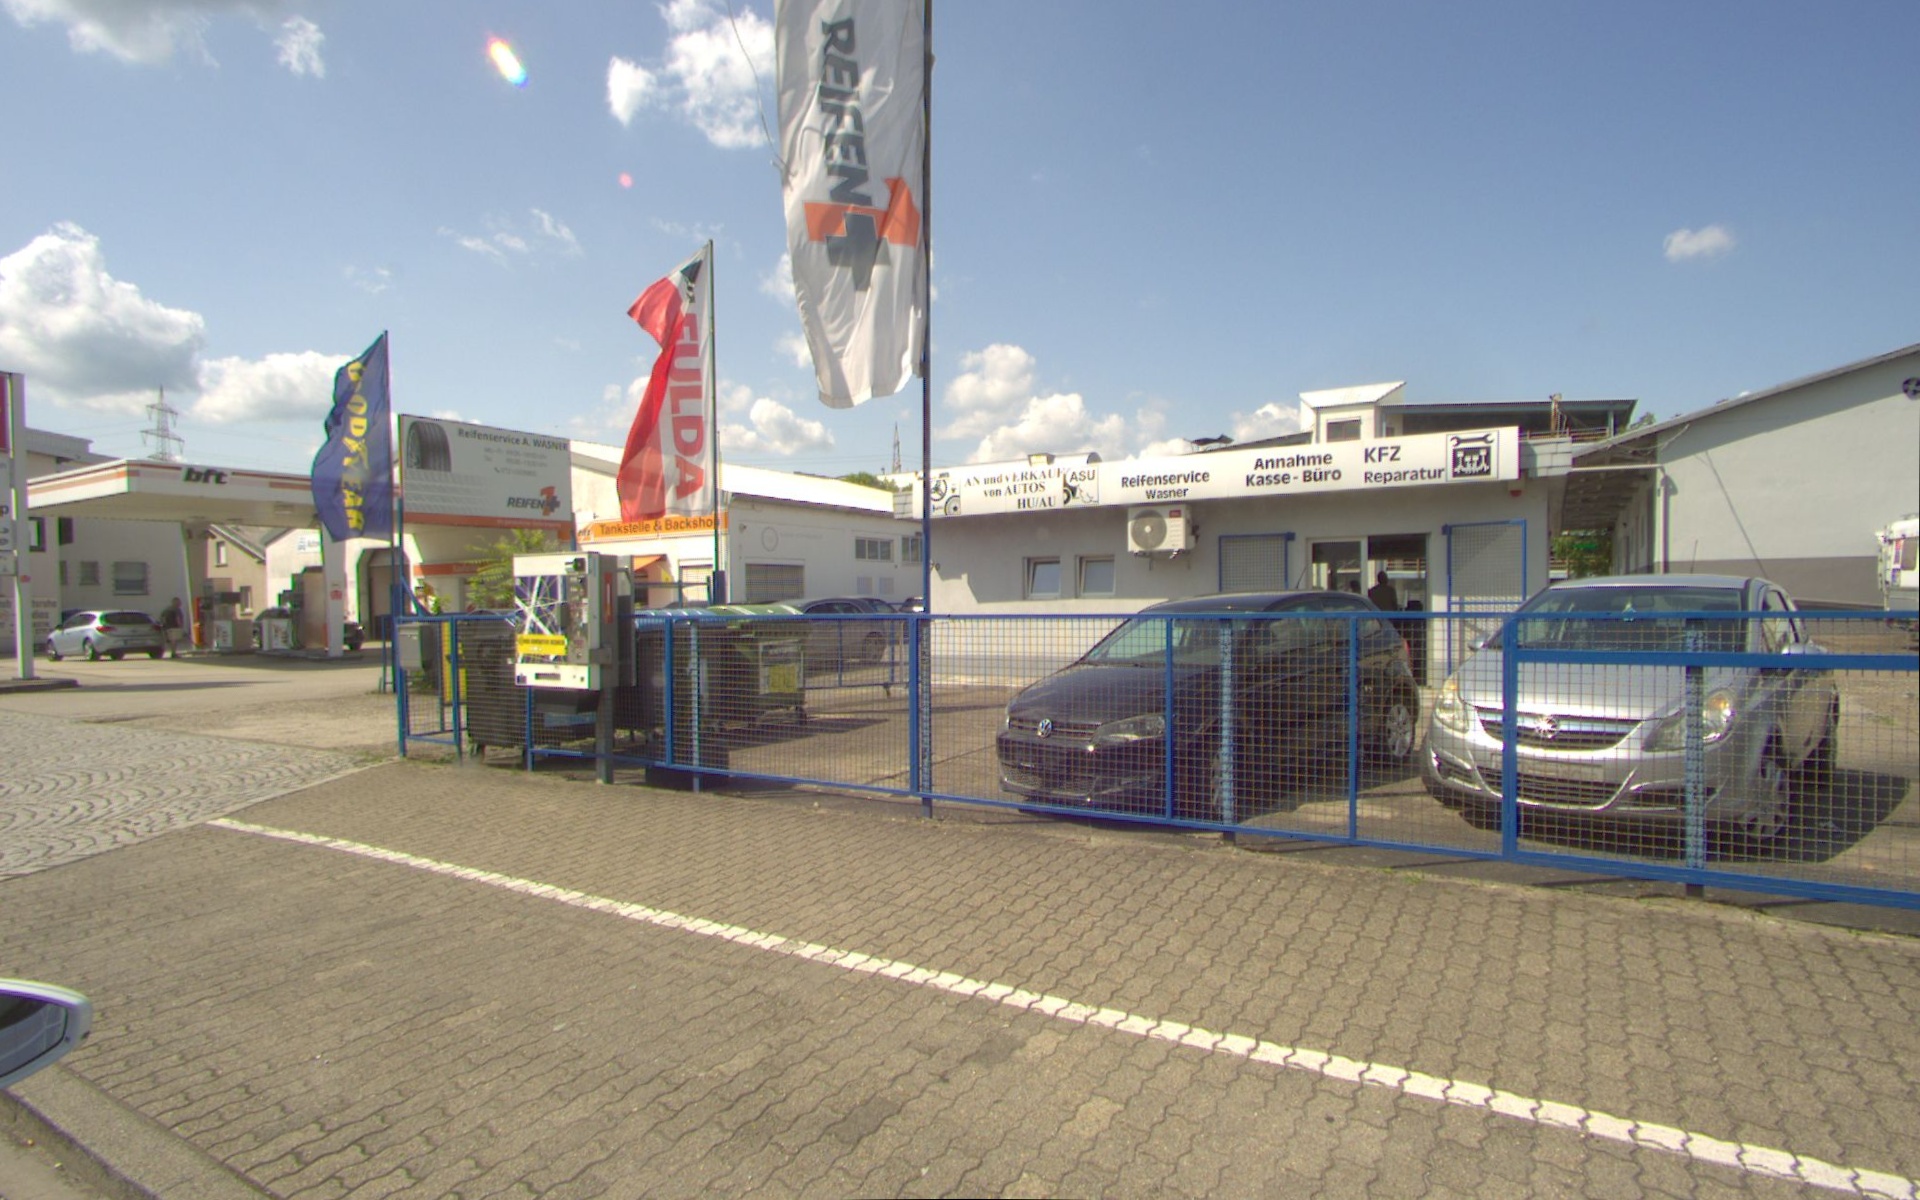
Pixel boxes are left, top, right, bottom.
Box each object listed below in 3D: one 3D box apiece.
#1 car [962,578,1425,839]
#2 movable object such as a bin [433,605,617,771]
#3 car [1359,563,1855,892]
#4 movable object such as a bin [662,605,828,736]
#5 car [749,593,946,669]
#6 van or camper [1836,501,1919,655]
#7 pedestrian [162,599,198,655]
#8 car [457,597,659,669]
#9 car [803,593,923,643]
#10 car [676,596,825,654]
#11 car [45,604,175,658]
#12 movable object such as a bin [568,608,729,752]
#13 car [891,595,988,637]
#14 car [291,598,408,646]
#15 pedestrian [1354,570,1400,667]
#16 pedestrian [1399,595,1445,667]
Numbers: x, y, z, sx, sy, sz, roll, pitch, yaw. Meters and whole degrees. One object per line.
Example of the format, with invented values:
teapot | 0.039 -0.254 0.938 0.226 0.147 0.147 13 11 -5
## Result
car | 1.900 0.602 7.487 3.655 1.472 1.625 -1 0 -43
movable object such as a bin | -4.159 0.786 9.613 1.225 1.455 1.106 0 1 31
car | 4.272 0.561 6.386 3.729 1.472 1.757 -1 0 -42
movable object such as a bin | -2.533 0.783 11.908 1.318 1.414 1.400 0 1 31
car | -2.265 0.582 21.188 1.653 1.434 4.255 0 1 38
van or camper | 21.015 -0.455 19.534 5.571 3.005 2.264 0 1 31
pedestrian | -23.776 0.801 30.522 0.698 1.679 0.546 -1 1 -22
car | -9.165 0.688 23.169 1.564 1.482 4.187 0 0 33
car | -3.014 0.526 32.056 1.564 1.482 4.187 0 0 33
car | -5.717 0.641 27.825 1.564 1.482 4.187 0 0 33
car | -25.736 0.901 30.312 3.776 1.523 1.803 -1 0 30
movable object such as a bin | -3.326 0.803 10.743 1.225 1.415 1.106 0 1 31
car | -0.664 0.533 35.703 1.564 1.385 3.860 0 0 33
car | -20.672 0.717 33.901 3.777 1.523 1.803 -1 0 31
pedestrian | 7.352 0.319 17.651 0.654 1.671 0.563 0 1 34
pedestrian | 8.047 0.532 17.444 0.654 1.225 0.563 0 1 34
